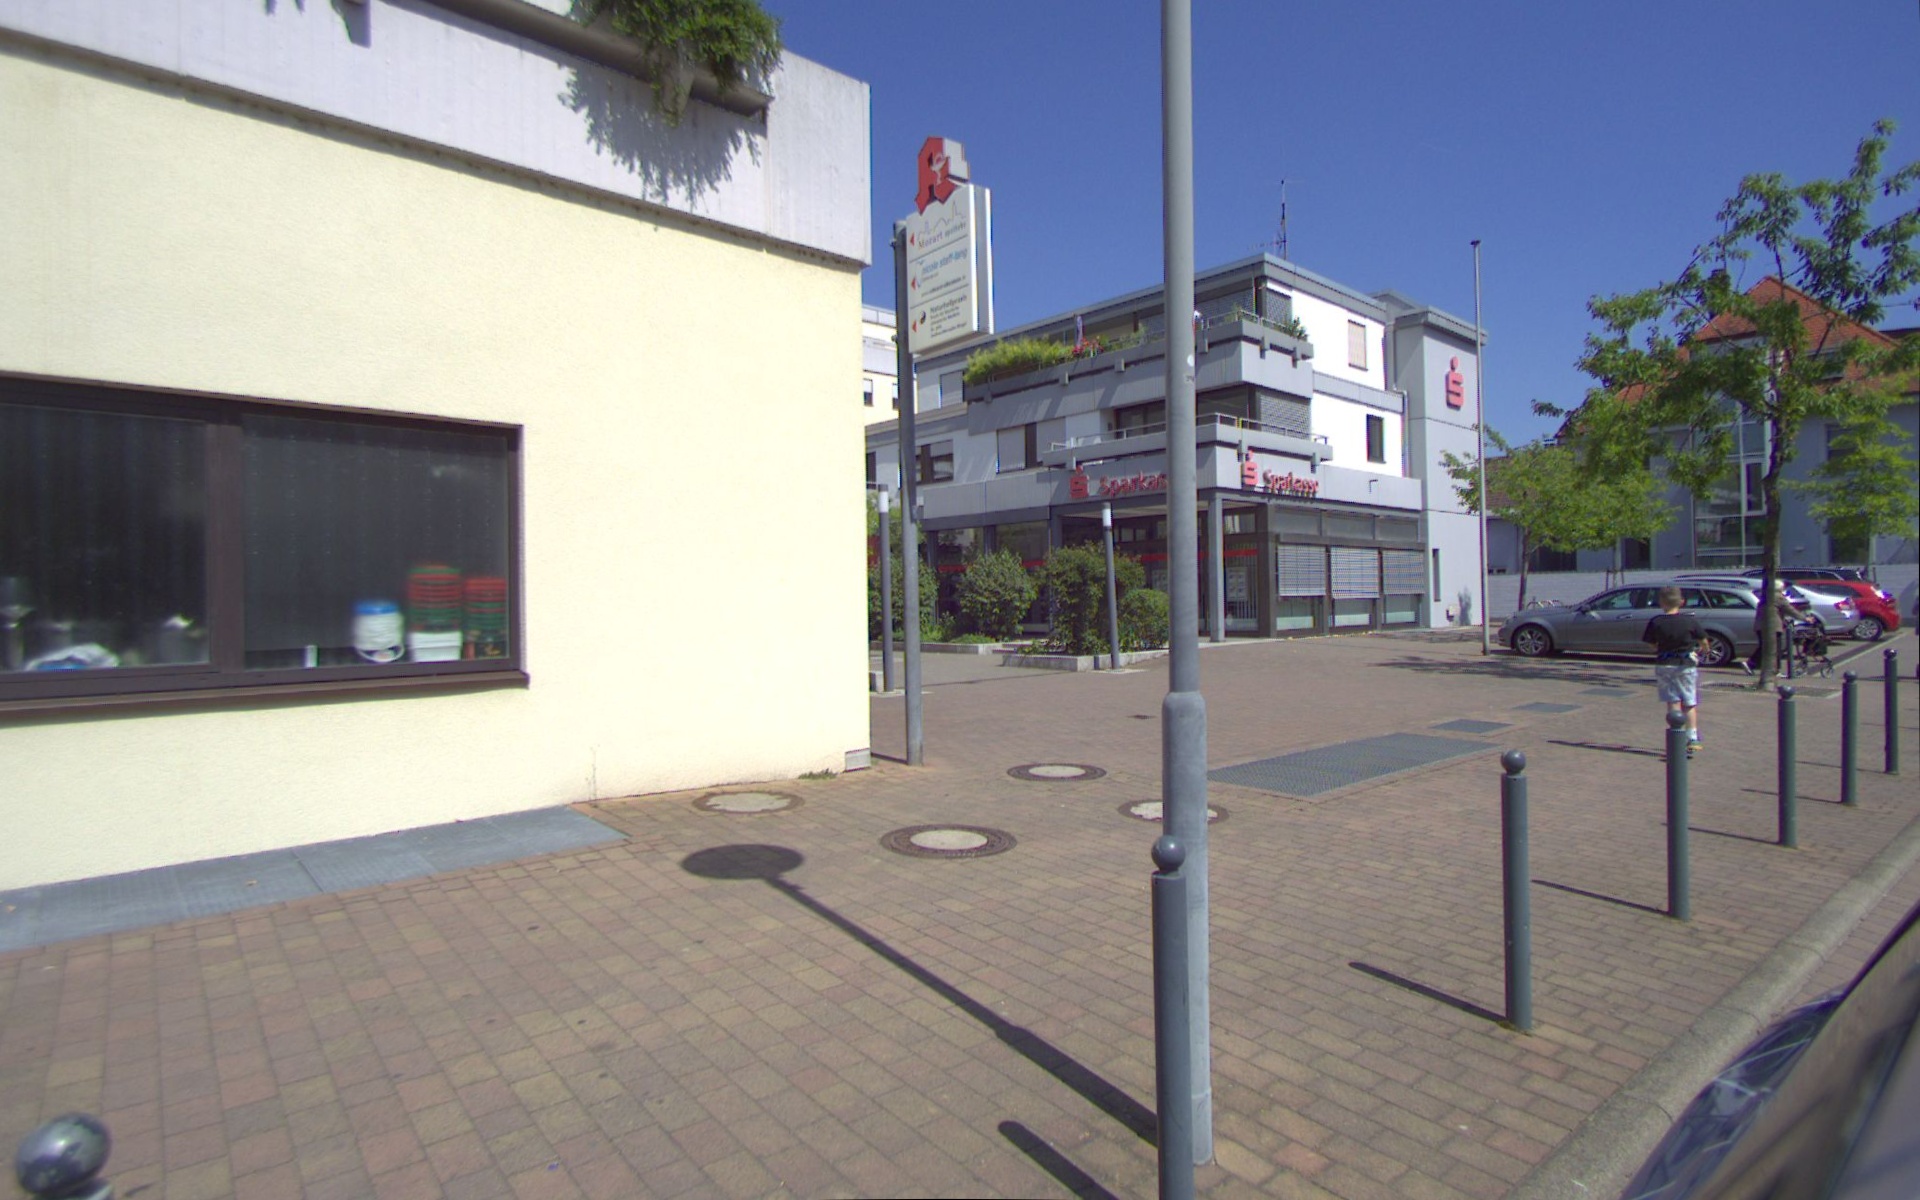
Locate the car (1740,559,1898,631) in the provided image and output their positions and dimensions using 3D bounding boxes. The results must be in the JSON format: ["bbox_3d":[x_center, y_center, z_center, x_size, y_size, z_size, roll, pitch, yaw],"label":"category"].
[{"bbox_3d":[22.444,-0.161,26.496,1.323,1.759,3.034,-1,2,-44],"label":"car"}]

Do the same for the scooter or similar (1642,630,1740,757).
[{"bbox_3d":[6.269,0.774,8.666,0.942,0.977,0.412,-2,1,-37],"label":"scooter or similar"}]

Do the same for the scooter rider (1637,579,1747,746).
[{"bbox_3d":[6.282,0.496,8.675,1.112,1.341,0.463,-1,0,-38],"label":"scooter rider"}]

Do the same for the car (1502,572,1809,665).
[{"bbox_3d":[12.627,0.255,18.604,1.663,1.483,4.435,-2,3,-44],"label":"car"}]

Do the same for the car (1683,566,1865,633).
[{"bbox_3d":[20.500,-0.022,25.562,1.466,1.571,3.424,-1,1,-43],"label":"car"}]

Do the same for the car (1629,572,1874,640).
[{"bbox_3d":[18.610,0.087,23.940,4.432,1.460,1.631,1,2,44],"label":"car"}]

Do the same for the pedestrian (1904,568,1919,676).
[{"bbox_3d":[14.112,0.307,14.475,1.026,1.535,0.514,0,1,-24],"label":"pedestrian"}]

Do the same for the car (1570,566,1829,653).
[{"bbox_3d":[14.796,0.118,20.399,1.685,1.579,4.036,-1,2,-45],"label":"car"}]

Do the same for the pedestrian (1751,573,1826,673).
[{"bbox_3d":[12.818,0.346,15.667,0.710,1.520,0.532,-1,0,-1],"label":"pedestrian"}]

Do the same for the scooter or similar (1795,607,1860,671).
[{"bbox_3d":[13.436,0.598,15.686,0.536,0.957,0.536,-1,0,-2],"label":"scooter or similar"}]
